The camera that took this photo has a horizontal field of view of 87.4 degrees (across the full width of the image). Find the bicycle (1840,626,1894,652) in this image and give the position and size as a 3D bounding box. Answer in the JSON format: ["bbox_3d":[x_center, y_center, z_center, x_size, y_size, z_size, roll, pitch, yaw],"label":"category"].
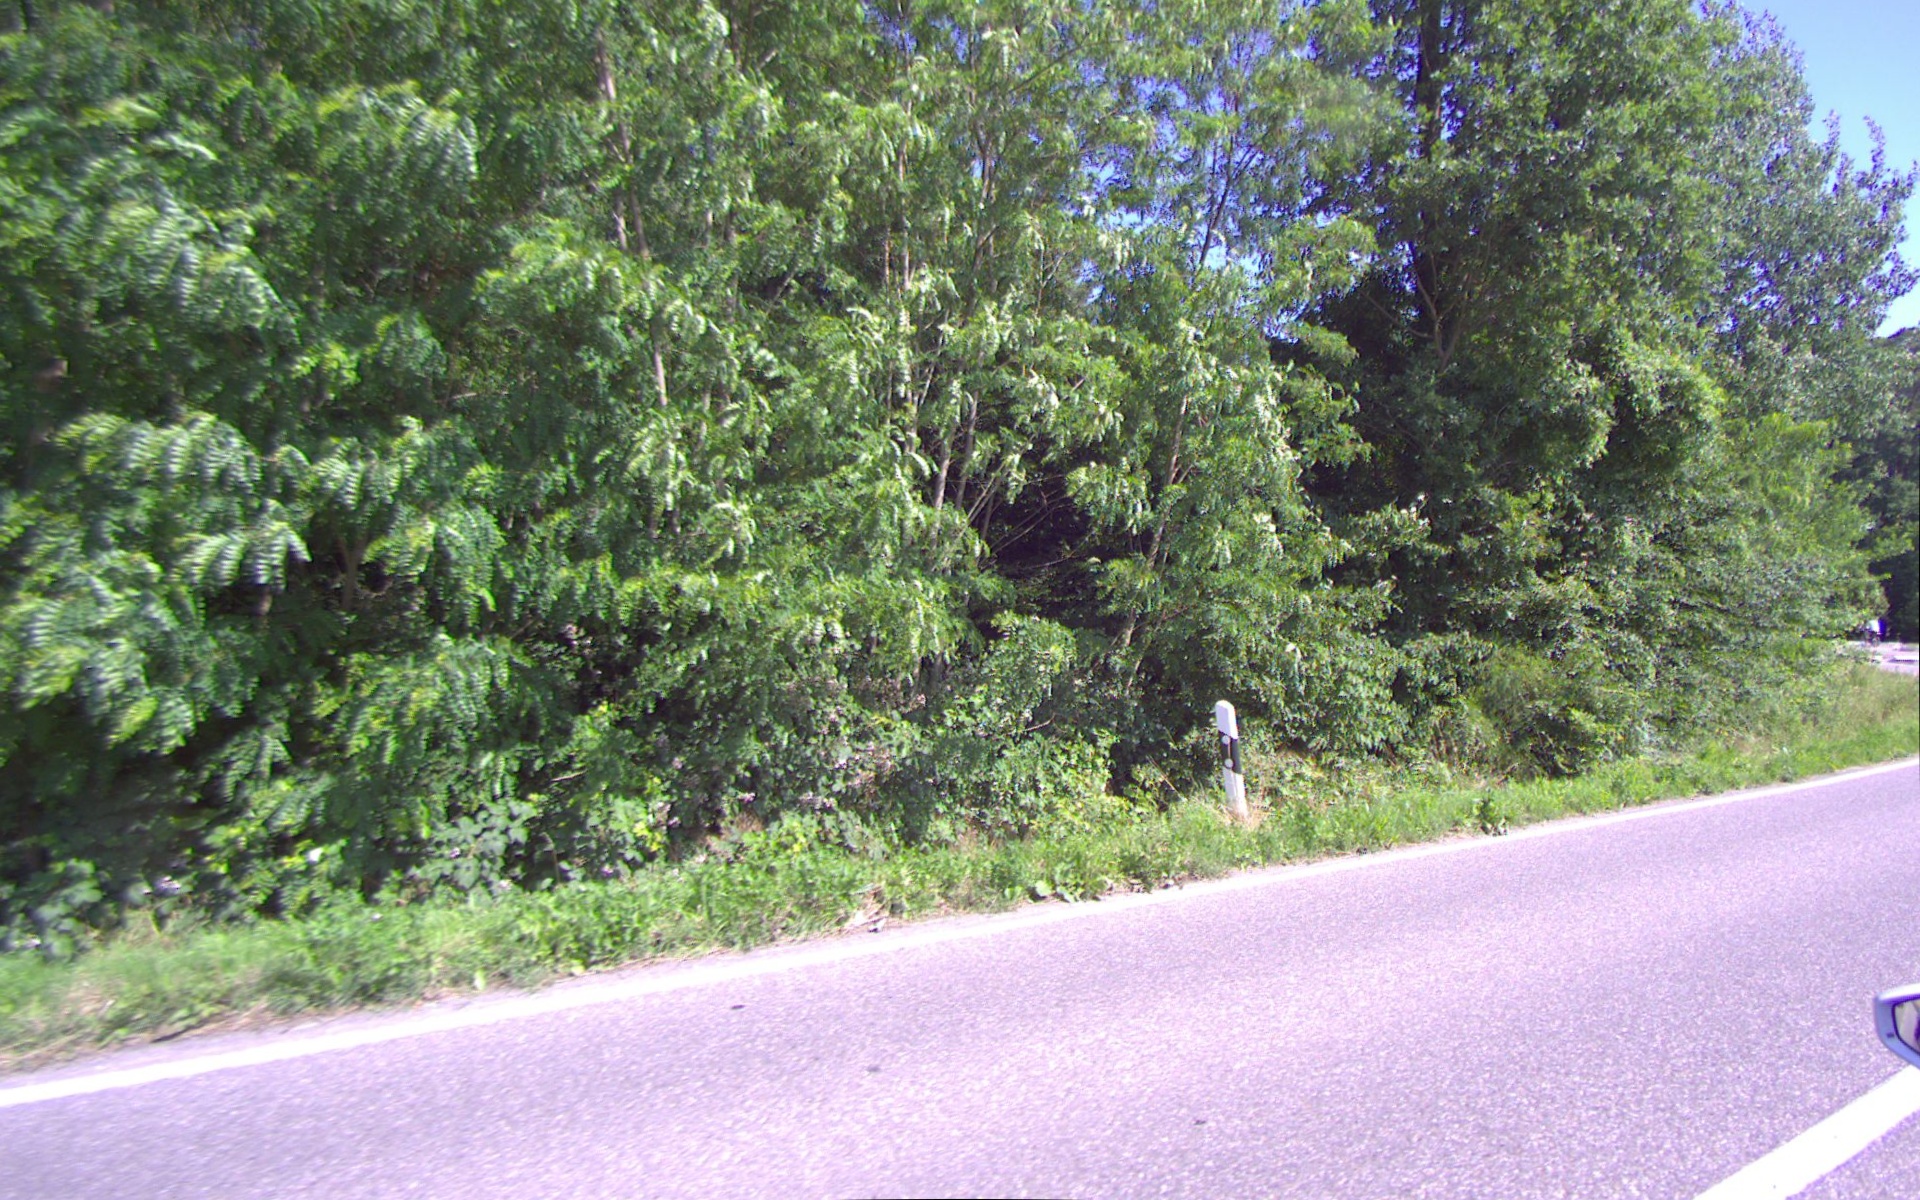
[{"bbox_3d":[60.347,2.585,66.867,1.162,1.608,3.201,1,-1,12],"label":"bicycle"}]

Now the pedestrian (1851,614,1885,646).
[{"bbox_3d":[60.345,1.976,66.753,1.238,2.040,1.142,1,0,9],"label":"pedestrian"}]
